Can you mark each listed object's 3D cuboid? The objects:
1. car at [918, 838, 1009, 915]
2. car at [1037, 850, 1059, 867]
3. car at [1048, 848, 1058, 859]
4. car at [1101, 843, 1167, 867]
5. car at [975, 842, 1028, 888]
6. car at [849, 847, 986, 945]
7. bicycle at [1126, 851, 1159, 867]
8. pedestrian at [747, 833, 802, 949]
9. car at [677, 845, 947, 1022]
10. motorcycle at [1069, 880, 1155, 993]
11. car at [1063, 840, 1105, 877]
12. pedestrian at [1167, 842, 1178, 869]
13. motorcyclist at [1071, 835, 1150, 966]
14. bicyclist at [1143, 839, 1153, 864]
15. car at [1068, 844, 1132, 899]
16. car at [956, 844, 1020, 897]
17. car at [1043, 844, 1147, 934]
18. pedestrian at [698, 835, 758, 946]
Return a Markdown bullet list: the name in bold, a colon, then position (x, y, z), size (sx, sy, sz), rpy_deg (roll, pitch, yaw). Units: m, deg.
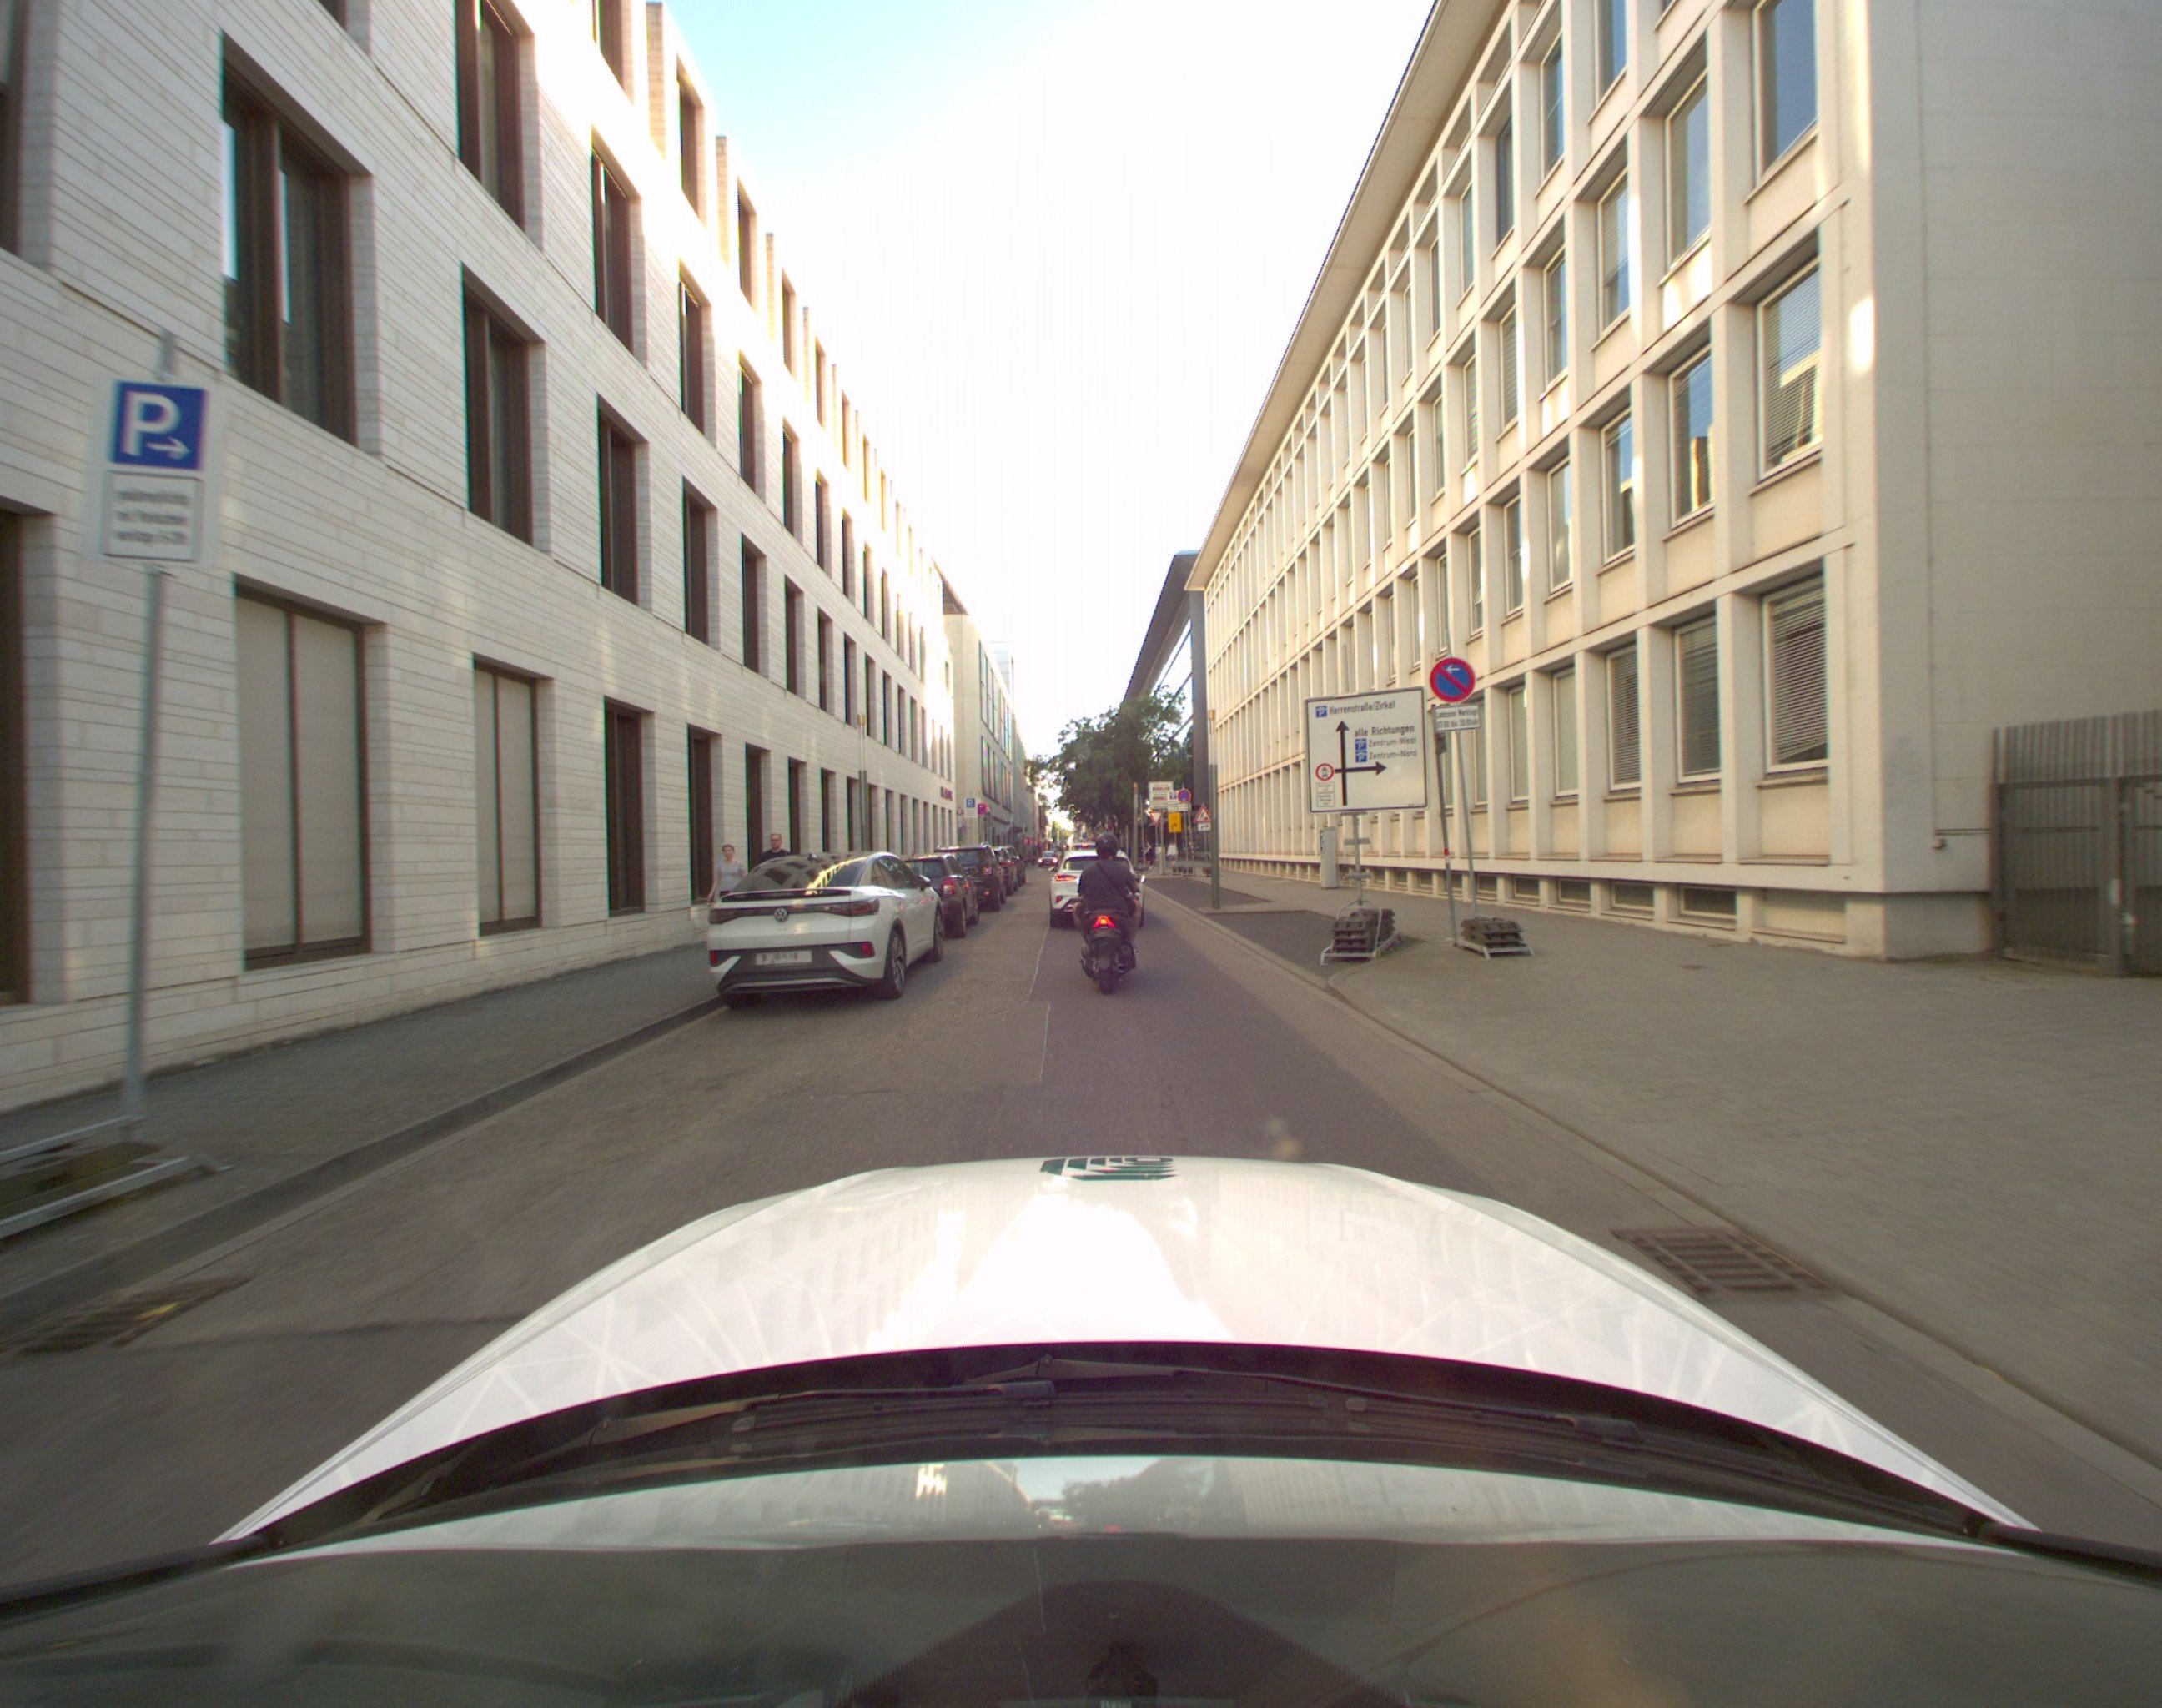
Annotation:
- **car**: position (-2.959, 0.512, 21.276), size (1.817, 1.714, 4.015), rpy_deg (-3, 1, -2)
- **car**: position (-3.108, 0.467, 78.479), size (1.816, 1.465, 4.264), rpy_deg (-1, -2, 1)
- **car**: position (-6.173, -0.028, 178.511), size (1.989, 2.329, 5.015), rpy_deg (1, 0, -3)
- **car**: position (4.218, 0.071, 65.326), size (4.994, 1.451, 1.998), rpy_deg (-5, 0, -4)
- **car**: position (-3.210, 0.405, 33.640), size (1.817, 1.677, 4.261), rpy_deg (-3, 1, -2)
- **car**: position (-2.998, 0.686, 15.860), size (1.817, 1.541, 4.261), rpy_deg (-3, 1, -2)
- **bicycle**: position (4.032, 0.332, 53.599), size (2.095, 0.995, 0.518), rpy_deg (0, -1, 0)
- **pedestrian**: position (-4.858, 0.577, 12.933), size (0.639, 1.790, 0.575), rpy_deg (0, -1, -1)
- **car**: position (-2.884, 0.721, 9.883), size (1.817, 1.541, 4.444), rpy_deg (-3, 1, -2)
- **motorcycle**: position (0.321, 0.871, 9.255), size (0.869, 1.109, 1.839), rpy_deg (0, -1, 0)
- **car**: position (0.099, 0.175, 40.004), size (1.817, 1.645, 4.491), rpy_deg (-3, 1, -2)
- **pedestrian**: position (5.438, 0.079, 48.364), size (0.557, 1.584, 0.598), rpy_deg (0, -1, 1)
- **motorcyclist**: position (0.325, 0.515, 9.173), size (0.864, 1.427, 0.455), rpy_deg (0, -1, 0)
- **bicyclist**: position (4.399, -0.188, 53.596), size (0.628, 1.625, 0.498), rpy_deg (0, -1, 0)
- **car**: position (0.530, 0.493, 26.629), size (1.817, 1.541, 4.362), rpy_deg (-3, 1, -2)
- **car**: position (-3.075, 0.494, 27.670), size (1.735, 1.594, 4.151), rpy_deg (-3, 1, -2)
- **car**: position (0.205, 0.607, 17.048), size (1.817, 1.541, 4.261), rpy_deg (-3, 1, -2)
- **pedestrian**: position (-5.834, 0.589, 13.494), size (0.641, 1.790, 0.816), rpy_deg (0, -1, -1)
